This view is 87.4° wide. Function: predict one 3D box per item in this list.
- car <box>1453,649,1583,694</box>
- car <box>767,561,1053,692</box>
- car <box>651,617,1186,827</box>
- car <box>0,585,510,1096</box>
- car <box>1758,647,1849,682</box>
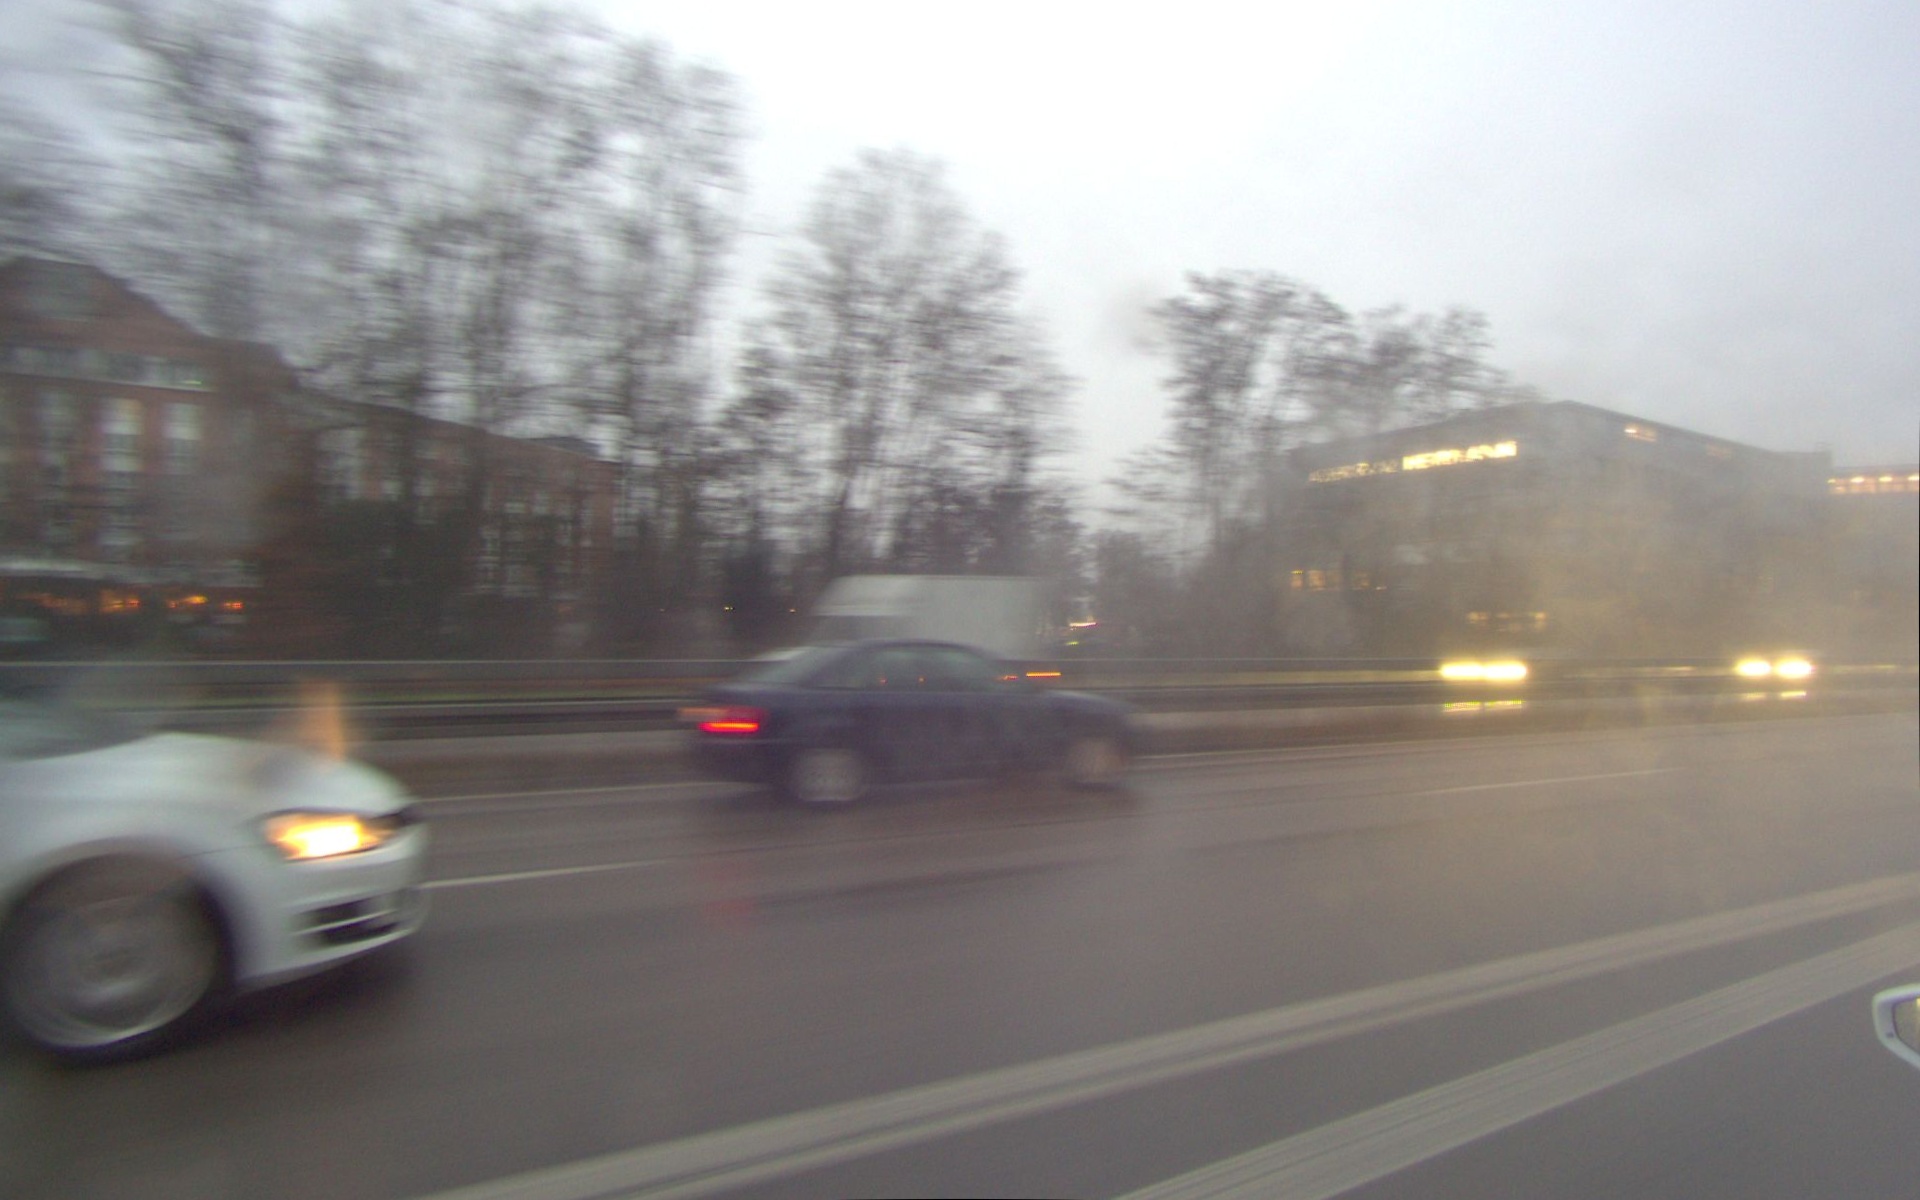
[{"bbox_3d":[18.854,2.386,33.903,4.416,1.339,1.703,2,0,-28],"label":"car"},{"bbox_3d":[-1.131,0.621,23.744,6.261,2.767,2.517,2,0,-28],"label":"car"},{"bbox_3d":[-0.315,1.024,9.306,4.641,1.554,1.770,2,-4,-27],"label":"car"},{"bbox_3d":[-4.187,0.733,3.483,4.724,1.540,1.941,1,-2,-26],"label":"car"},{"bbox_3d":[36.569,2.785,43.521,4.204,1.339,1.539,2,0,-28],"label":"car"}]
